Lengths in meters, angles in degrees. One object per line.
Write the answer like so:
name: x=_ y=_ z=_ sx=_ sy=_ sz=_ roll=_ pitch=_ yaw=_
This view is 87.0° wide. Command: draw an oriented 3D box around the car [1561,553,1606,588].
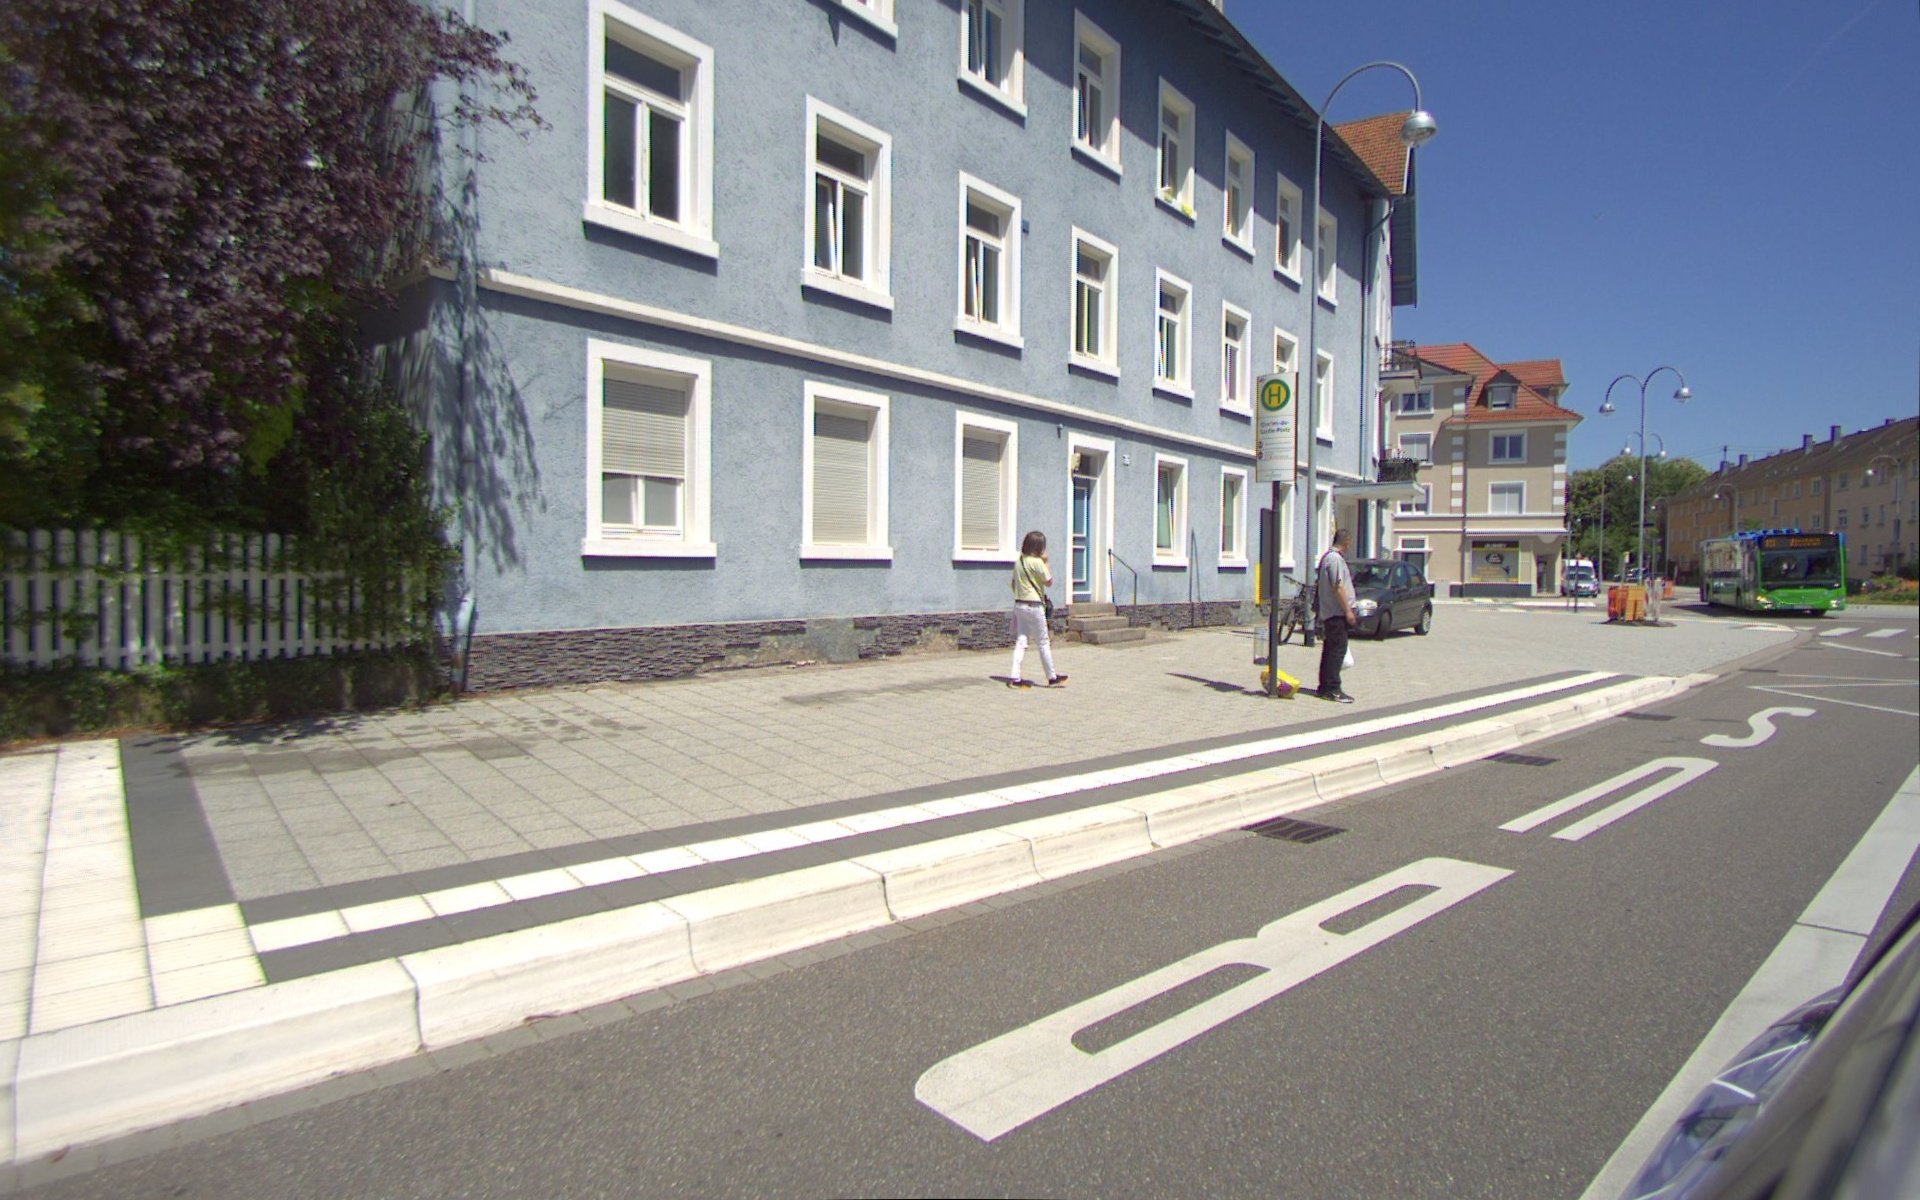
car: x=48.368 y=-2.295 z=78.638 sx=2.320 sy=2.486 sz=5.682 roll=4 pitch=3 yaw=27

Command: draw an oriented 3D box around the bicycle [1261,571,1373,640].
bicycle: x=5.946 y=0.087 z=16.826 sx=1.845 sy=1.051 sz=0.635 roll=0 pitch=4 yaw=-29

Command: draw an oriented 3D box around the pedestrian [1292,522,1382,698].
pedestrian: x=4.136 y=0.082 z=11.107 sx=0.744 sy=1.826 sz=0.610 roll=5 pitch=5 yaw=28

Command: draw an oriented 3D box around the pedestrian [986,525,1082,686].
pedestrian: x=0.779 y=0.036 z=10.757 sx=0.736 sy=1.635 sz=0.616 roll=0 pitch=3 yaw=-32

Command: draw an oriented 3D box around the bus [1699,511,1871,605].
bus: x=31.899 y=-1.468 z=39.771 sx=2.886 sy=3.119 sz=12.438 roll=0 pitch=1 yaw=28

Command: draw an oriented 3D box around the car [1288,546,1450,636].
car: x=8.254 y=-0.231 z=20.267 sx=1.759 sy=1.531 sz=3.684 roll=7 pitch=5 yaw=42

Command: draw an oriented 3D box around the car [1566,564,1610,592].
car: x=36.916 y=-1.344 z=59.572 sx=1.810 sy=1.427 sz=3.963 roll=4 pitch=4 yaw=27
